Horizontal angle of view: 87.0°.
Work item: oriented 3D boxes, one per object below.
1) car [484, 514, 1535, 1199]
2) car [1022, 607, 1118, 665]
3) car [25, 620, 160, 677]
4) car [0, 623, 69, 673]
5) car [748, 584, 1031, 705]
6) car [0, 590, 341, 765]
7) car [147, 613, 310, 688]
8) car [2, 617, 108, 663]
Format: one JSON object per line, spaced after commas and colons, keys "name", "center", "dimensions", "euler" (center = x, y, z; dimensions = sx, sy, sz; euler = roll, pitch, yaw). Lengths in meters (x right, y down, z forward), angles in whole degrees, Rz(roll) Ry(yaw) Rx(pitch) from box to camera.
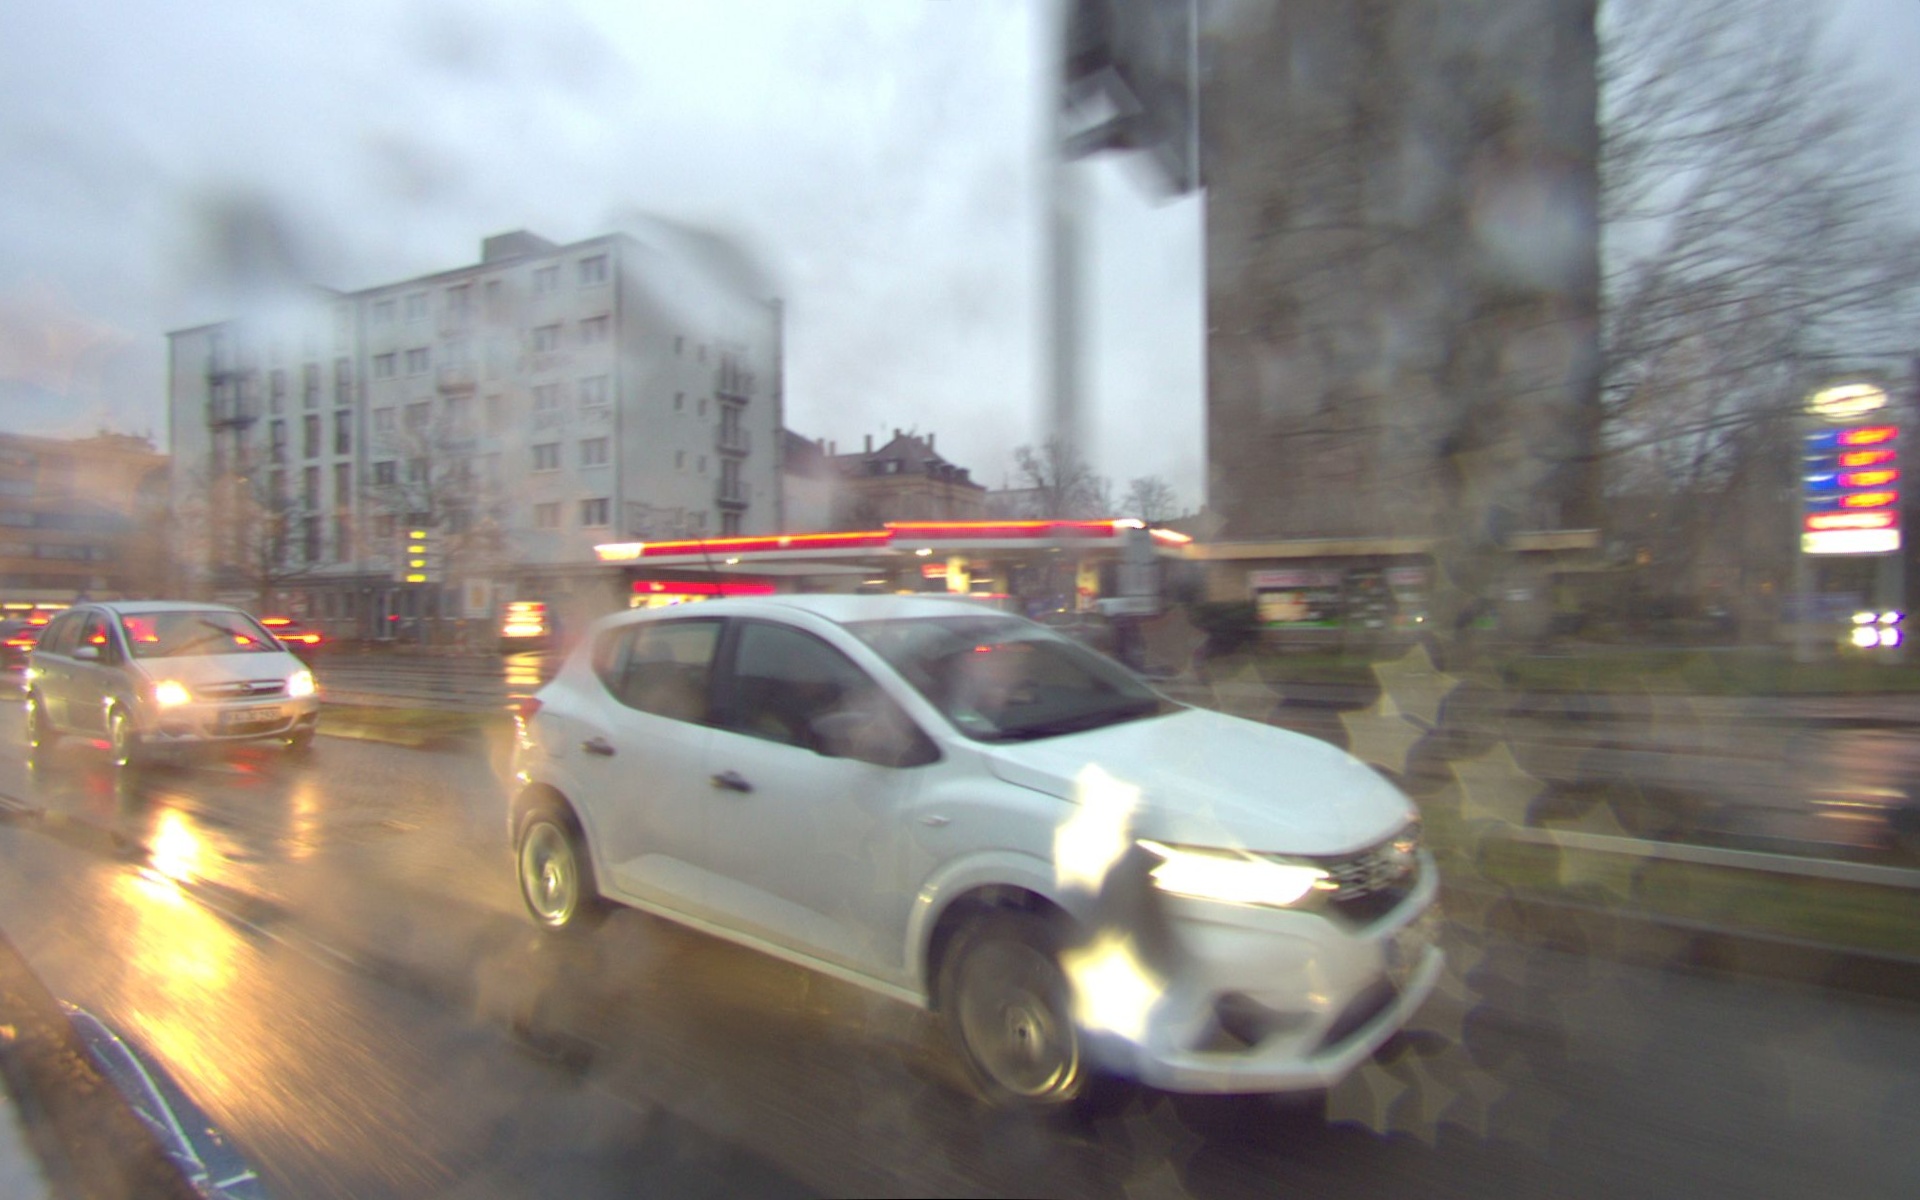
{"name": "car", "center": [-0.152, 0.627, 4.011], "dimensions": [3.996, 1.498, 1.610], "euler": [-2, -2, 40]}
{"name": "car", "center": [3.210, 0.991, 28.916], "dimensions": [1.767, 1.542, 3.971], "euler": [-1, -1, 21]}
{"name": "car", "center": [-24.301, 1.338, 28.322], "dimensions": [4.128, 1.498, 1.633], "euler": [-2, -2, 31]}
{"name": "car", "center": [-30.000, 1.494, 31.968], "dimensions": [3.985, 1.498, 1.633], "euler": [-2, -2, 31]}
{"name": "car", "center": [-1.312, 0.789, 18.352], "dimensions": [4.832, 1.961, 1.981], "euler": [-1, -3, 28]}
{"name": "car", "center": [-8.509, 0.720, 10.809], "dimensions": [4.097, 1.560, 1.632], "euler": [-1, -1, 33]}
{"name": "car", "center": [-17.615, 1.184, 24.307], "dimensions": [4.646, 1.643, 1.632], "euler": [-2, -2, 33]}
{"name": "car", "center": [-31.371, 1.373, 35.061], "dimensions": [3.985, 1.498, 1.633], "euler": [-2, -2, 31]}
